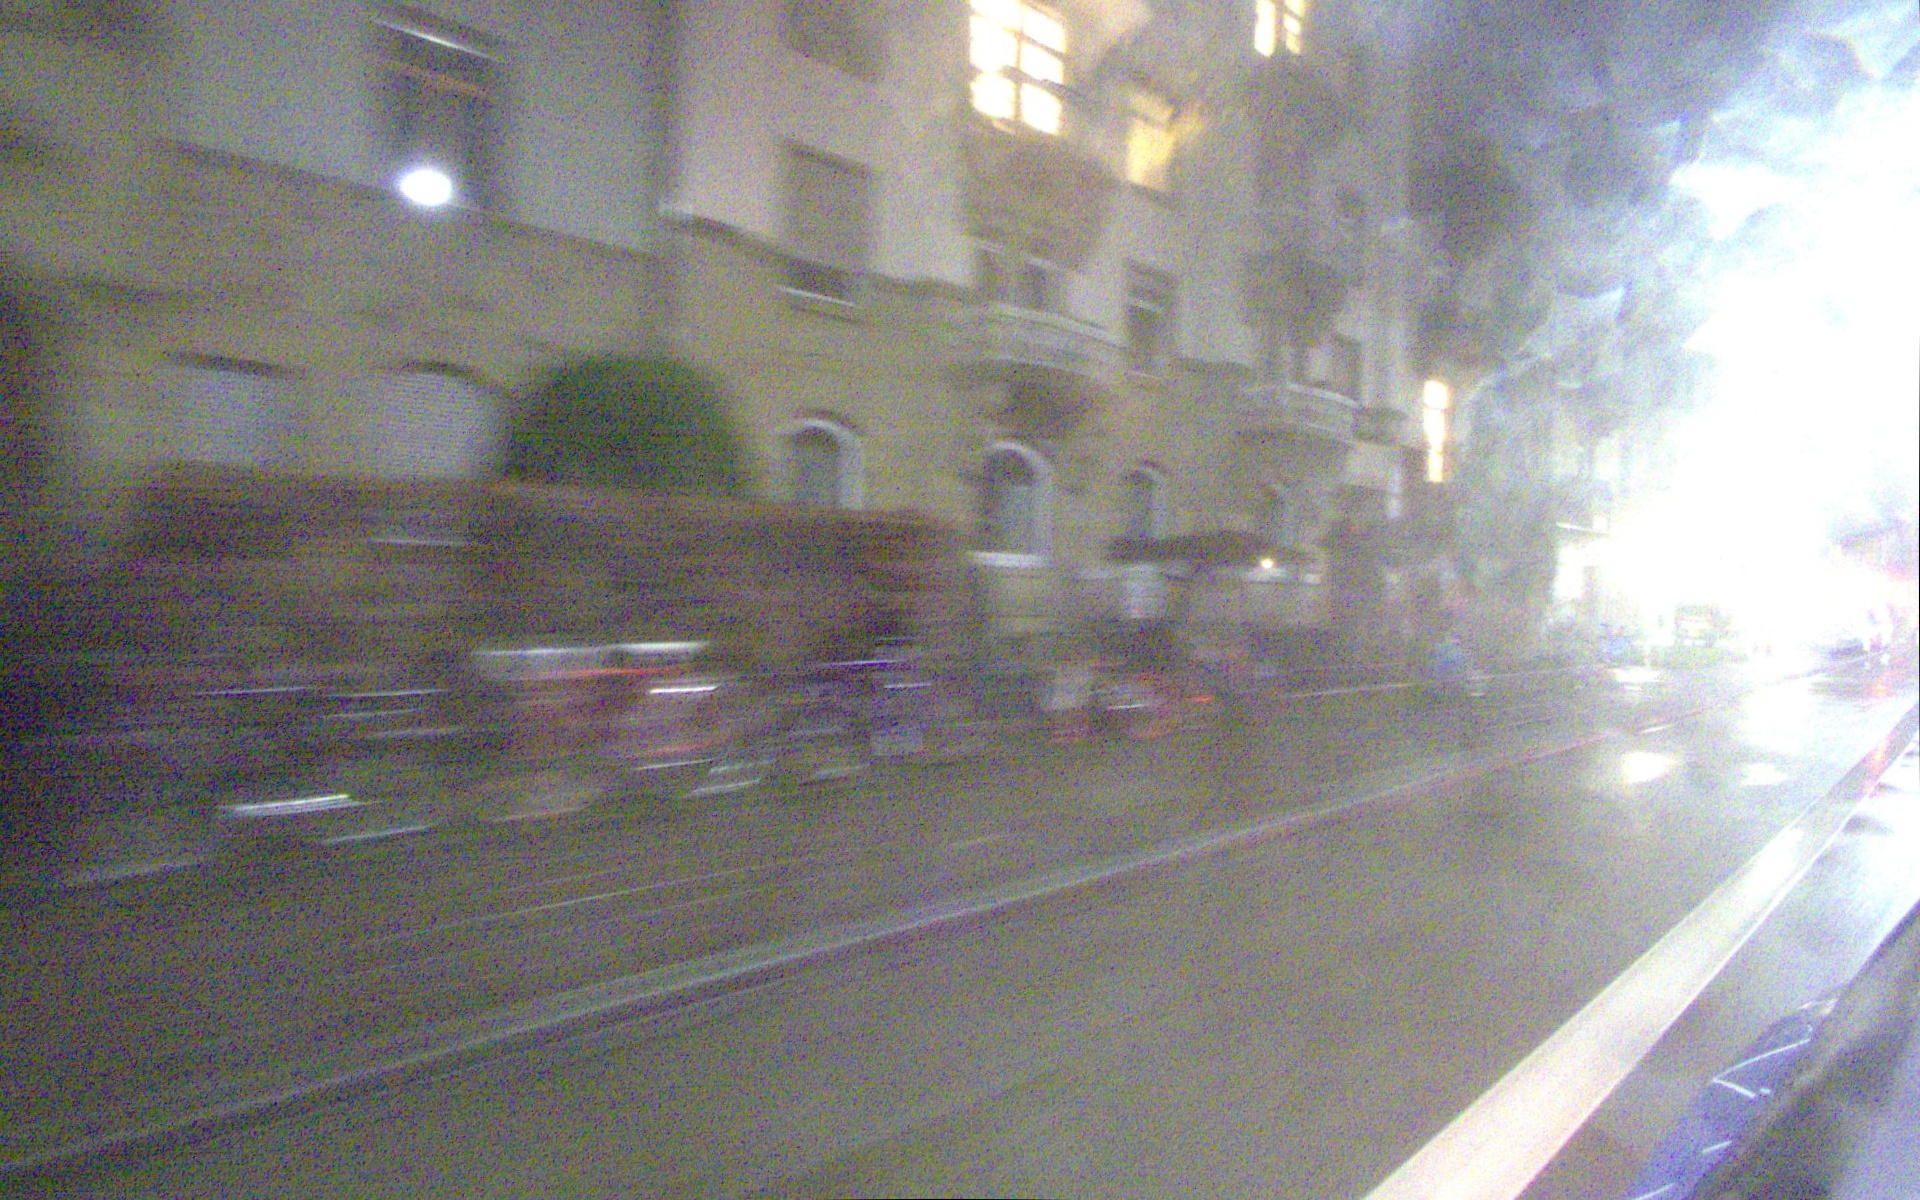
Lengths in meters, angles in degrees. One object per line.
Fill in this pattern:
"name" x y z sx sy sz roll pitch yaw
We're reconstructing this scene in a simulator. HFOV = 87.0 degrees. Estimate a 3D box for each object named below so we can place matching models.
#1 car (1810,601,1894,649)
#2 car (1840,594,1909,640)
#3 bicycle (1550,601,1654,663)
"car" 31.526 0.842 35.739 3.985 1.459 1.649 0 5 -42
"car" 35.497 0.628 39.262 3.521 1.543 1.650 0 5 -44
"bicycle" 14.028 0.684 22.156 0.484 1.177 1.817 -1 4 -42
